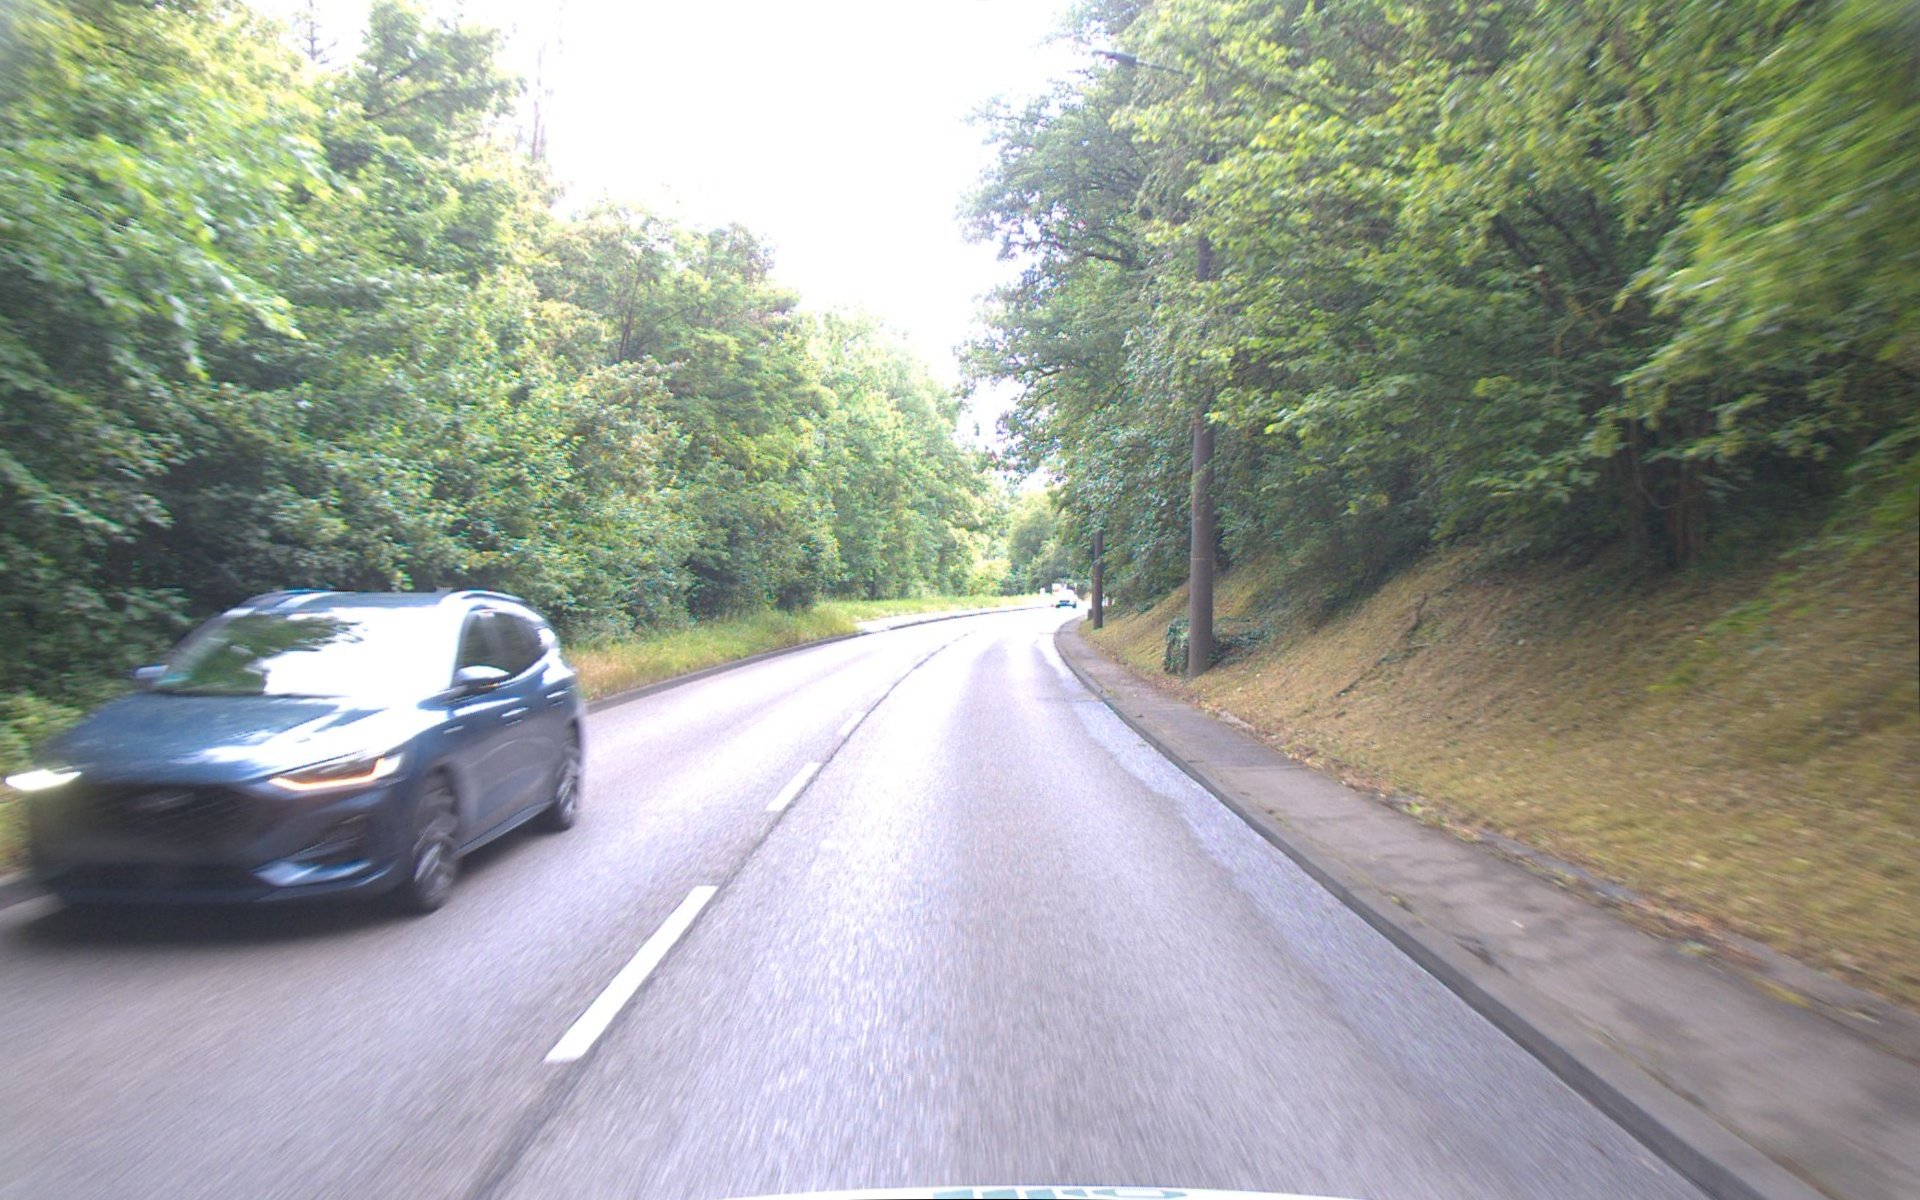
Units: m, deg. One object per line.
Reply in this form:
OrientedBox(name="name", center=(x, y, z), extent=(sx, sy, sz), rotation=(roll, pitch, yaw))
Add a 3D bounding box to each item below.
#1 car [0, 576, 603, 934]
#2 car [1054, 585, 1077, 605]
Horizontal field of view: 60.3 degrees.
OrientedBox(name="car", center=(-3.246, 0.669, 8.907), extent=(1.954, 1.462, 3.997), rotation=(1, -1, -3))
OrientedBox(name="car", center=(10.028, -0.446, 156.891), extent=(1.951, 1.784, 4.784), rotation=(1, -1, 5))
